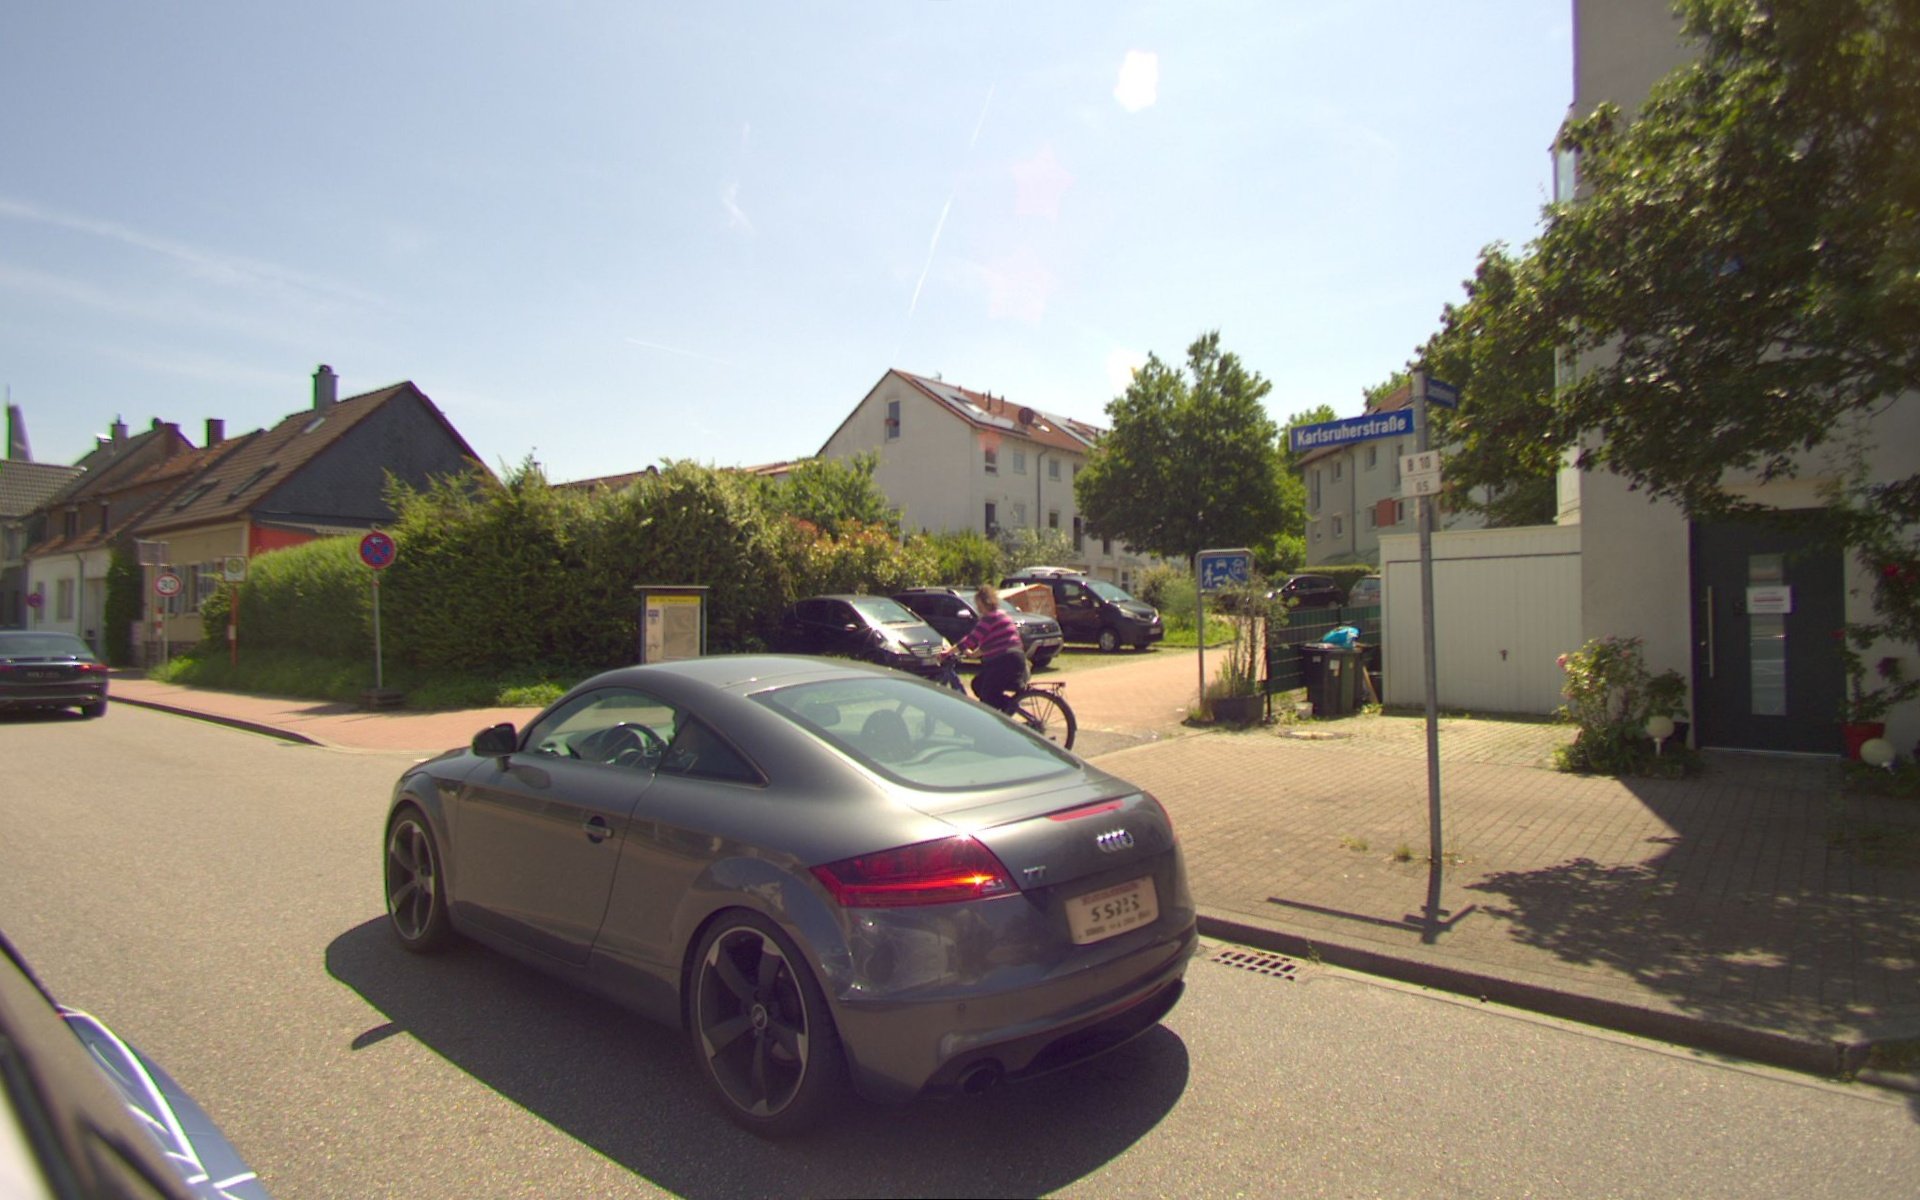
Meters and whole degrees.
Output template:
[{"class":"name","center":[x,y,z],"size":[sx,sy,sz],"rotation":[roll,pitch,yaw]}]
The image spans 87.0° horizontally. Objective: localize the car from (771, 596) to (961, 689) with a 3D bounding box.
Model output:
[{"class":"car","center":[-1.870,0.766,19.420],"size":[3.653,1.552,1.605],"rotation":[-1,1,44]}]

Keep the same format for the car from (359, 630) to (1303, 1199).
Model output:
[{"class":"car","center":[-0.809,0.852,4.155],"size":[3.867,1.381,1.688],"rotation":[-2,-4,41]}]

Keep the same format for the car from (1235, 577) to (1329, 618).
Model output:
[{"class":"car","center":[11.993,-0.097,37.617],"size":[3.580,1.463,1.595],"rotation":[-1,-1,-38]}]

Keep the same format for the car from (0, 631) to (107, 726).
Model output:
[{"class":"car","center":[-16.509,1.294,17.665],"size":[4.691,1.471,1.712],"rotation":[-2,-3,40]}]

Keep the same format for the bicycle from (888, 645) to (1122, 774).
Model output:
[{"class":"bicycle","center":[0.412,0.978,9.260],"size":[2.009,1.064,0.669],"rotation":[-2,1,17]}]

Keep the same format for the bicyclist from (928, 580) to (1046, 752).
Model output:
[{"class":"bicyclist","center":[0.263,0.585,9.303],"size":[0.901,1.505,0.657],"rotation":[-2,1,17]}]

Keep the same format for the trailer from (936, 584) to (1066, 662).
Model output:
[{"class":"trailer","center":[0.958,0.533,23.856],"size":[2.688,1.676,1.413],"rotation":[-2,2,37]}]

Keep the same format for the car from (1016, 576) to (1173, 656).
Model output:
[{"class":"car","center":[3.273,0.381,25.018],"size":[3.552,1.794,1.605],"rotation":[-1,1,44]}]

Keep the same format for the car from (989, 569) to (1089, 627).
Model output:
[{"class":"car","center":[2.592,-0.087,32.649],"size":[1.419,1.747,3.594],"rotation":[-1,0,38]}]

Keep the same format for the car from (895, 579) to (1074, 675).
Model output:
[{"class":"car","center":[0.458,0.537,21.009],"size":[3.511,1.793,1.605],"rotation":[-1,1,44]}]

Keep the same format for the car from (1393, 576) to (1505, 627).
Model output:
[{"class":"car","center":[15.298,0.028,31.578],"size":[3.937,1.439,1.695],"rotation":[-2,0,-41]}]

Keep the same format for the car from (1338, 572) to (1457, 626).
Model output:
[{"class":"car","center":[14.577,-0.071,33.649],"size":[3.933,1.635,1.754],"rotation":[-2,1,-33]}]
